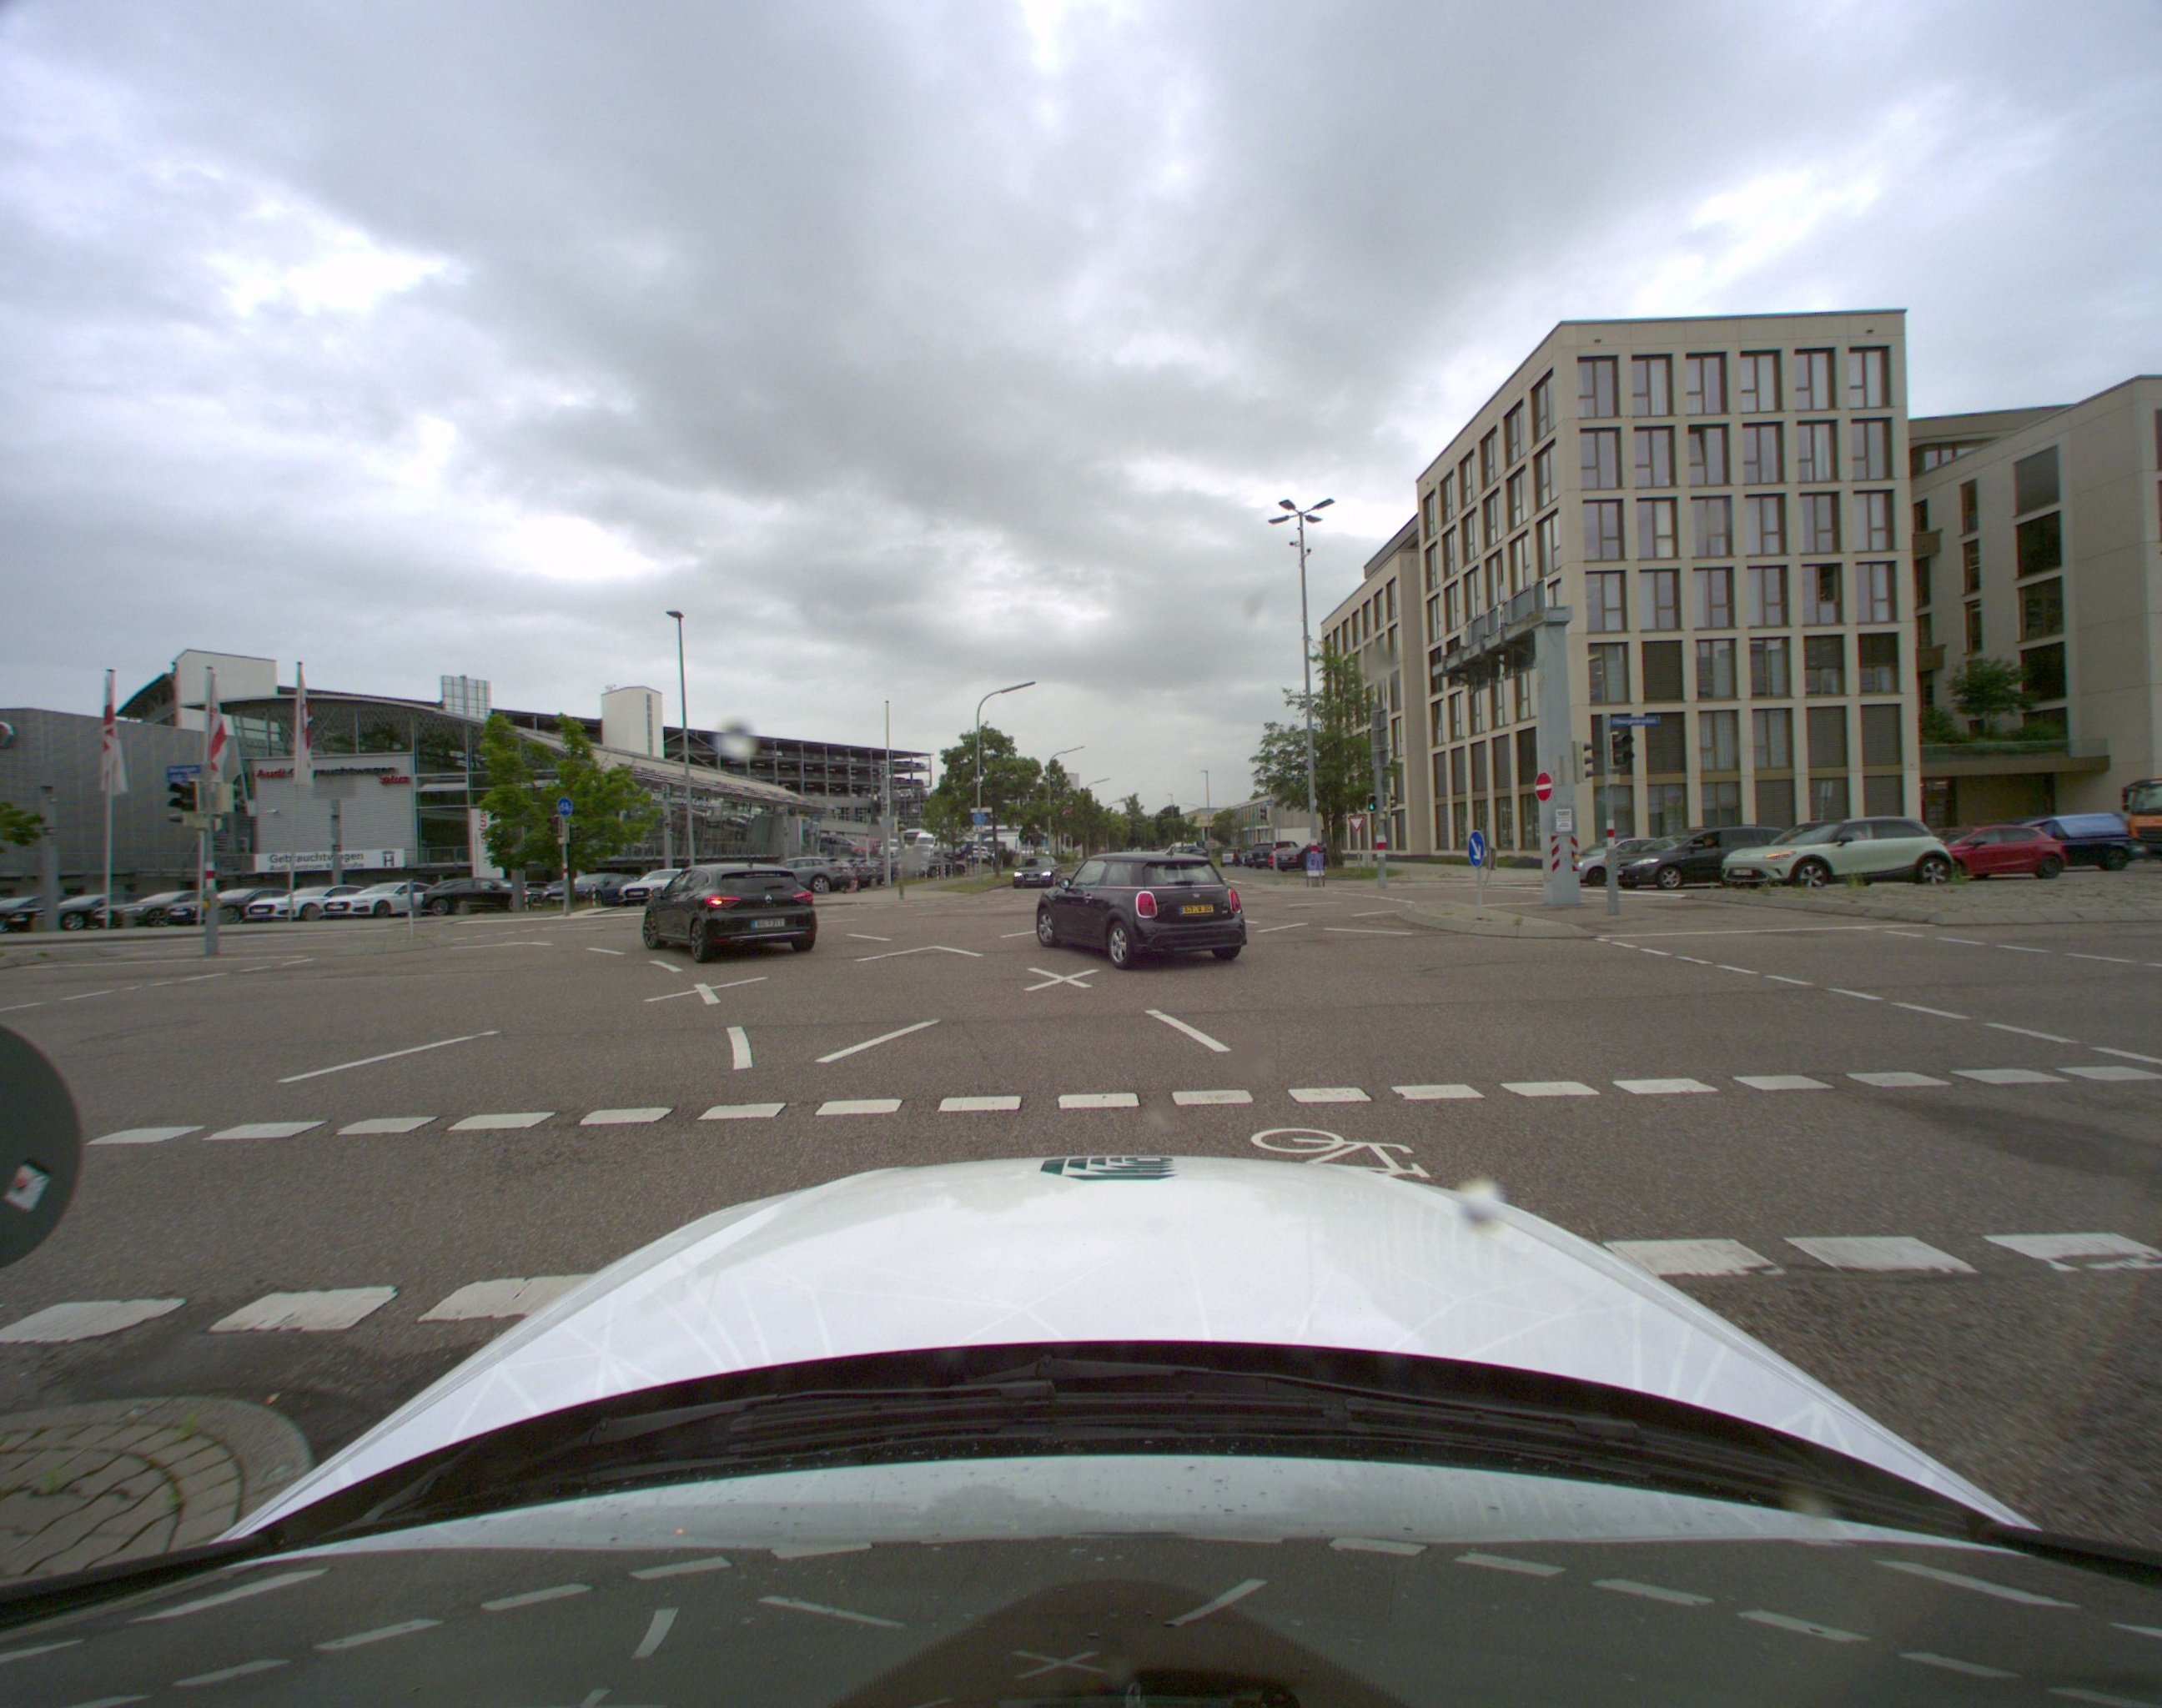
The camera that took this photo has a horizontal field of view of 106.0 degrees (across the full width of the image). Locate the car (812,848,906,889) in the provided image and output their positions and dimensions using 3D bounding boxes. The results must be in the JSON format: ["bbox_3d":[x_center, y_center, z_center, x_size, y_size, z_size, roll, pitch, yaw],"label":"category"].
[{"bbox_3d":[-12.732,0.846,46.982,4.762,2.014,1.998,-4,-1,-3],"label":"car"}]

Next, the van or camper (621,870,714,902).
[{"bbox_3d":[-22.405,1.732,44.209,3.975,1.677,1.999,0,-1,-1],"label":"van or camper"}]

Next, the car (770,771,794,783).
[{"bbox_3d":[-52.209,-13.372,141.999,3.948,1.667,2.013,-1,0,35],"label":"car"}]

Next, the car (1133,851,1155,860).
[{"bbox_3d":[14.604,0.343,189.117,5.153,2.014,2.145,0,-1,2],"label":"car"}]

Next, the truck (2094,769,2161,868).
[{"bbox_3d":[32.123,-0.969,21.723,6.630,2.638,2.821,0,-1,0],"label":"truck"}]

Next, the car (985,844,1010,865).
[{"bbox_3d":[-8.194,0.103,80.210,1.987,2.014,3.999,0,-1,0],"label":"car"}]

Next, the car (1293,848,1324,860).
[{"bbox_3d":[26.288,-0.011,94.122,3.236,1.332,1.478,0,-1,-15],"label":"car"}]

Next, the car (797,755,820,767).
[{"bbox_3d":[-48.964,-16.770,146.227,3.948,1.667,2.013,-1,0,35],"label":"car"}]

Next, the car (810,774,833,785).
[{"bbox_3d":[-47.315,-13.533,148.308,3.948,1.667,2.013,-1,0,35],"label":"car"}]

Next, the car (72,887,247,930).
[{"bbox_3d":[-35.026,2.049,31.154,1.896,1.486,4.188,-2,-3,0],"label":"car"}]

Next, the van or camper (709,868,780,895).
[{"bbox_3d":[-22.715,1.846,55.077,3.975,1.711,1.846,0,-1,-1],"label":"van or camper"}]

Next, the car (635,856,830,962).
[{"bbox_3d":[-5.814,0.791,13.342,1.772,1.434,3.952,-1,0,-42],"label":"car"}]

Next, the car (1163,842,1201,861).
[{"bbox_3d":[16.746,-0.338,135.563,6.093,3.116,2.135,0,-1,2],"label":"car"}]

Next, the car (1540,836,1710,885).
[{"bbox_3d":[16.575,0.203,24.958,4.072,1.432,1.750,0,-1,-1],"label":"car"}]

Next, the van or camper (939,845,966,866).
[{"bbox_3d":[-12.594,0.170,80.045,1.987,2.014,3.999,0,-1,0],"label":"van or camper"}]

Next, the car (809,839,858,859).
[{"bbox_3d":[-23.120,-0.459,76.234,3.973,1.838,1.760,0,-1,0],"label":"car"}]

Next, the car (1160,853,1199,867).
[{"bbox_3d":[13.659,0.839,113.024,5.155,2.014,2.144,0,-1,1],"label":"car"}]

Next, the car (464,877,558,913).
[{"bbox_3d":[-29.433,2.080,42.230,1.799,1.696,4.318,0,-1,0],"label":"car"}]

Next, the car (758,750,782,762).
[{"bbox_3d":[-53.499,-16.827,139.932,3.948,1.667,2.013,-1,0,35],"label":"car"}]

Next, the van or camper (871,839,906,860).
[{"bbox_3d":[-16.244,-0.342,68.869,1.987,1.651,3.999,0,-1,0],"label":"van or camper"}]

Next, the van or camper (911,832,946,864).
[{"bbox_3d":[-14.981,-0.512,80.224,2.528,3.027,4.842,0,-1,0],"label":"van or camper"}]

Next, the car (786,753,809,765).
[{"bbox_3d":[-50.249,-16.795,144.279,3.948,1.667,2.013,-1,0,35],"label":"car"}]

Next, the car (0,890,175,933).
[{"bbox_3d":[-38.059,2.166,31.135,1.882,1.471,4.377,-2,-3,0],"label":"car"}]

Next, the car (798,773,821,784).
[{"bbox_3d":[-48.761,-13.505,146.184,3.948,1.667,2.013,-1,0,35],"label":"car"}]

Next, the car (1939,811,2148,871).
[{"bbox_3d":[29.642,-0.363,25.188,4.123,1.769,1.999,0,-1,-1],"label":"car"}]

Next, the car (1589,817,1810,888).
[{"bbox_3d":[16.339,-0.029,21.676,4.394,1.769,1.999,0,-1,-1],"label":"car"}]

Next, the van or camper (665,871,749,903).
[{"bbox_3d":[-21.616,1.893,47.157,3.975,1.816,1.846,0,-1,-1],"label":"van or camper"}]

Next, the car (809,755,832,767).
[{"bbox_3d":[-47.430,-16.927,148.455,3.948,1.667,2.013,-1,0,35],"label":"car"}]

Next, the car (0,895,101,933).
[{"bbox_3d":[-40.802,2.281,30.998,1.890,1.391,4.166,-2,-3,0],"label":"car"}]

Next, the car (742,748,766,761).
[{"bbox_3d":[-55.254,-16.753,137.623,3.948,1.667,2.013,-1,0,35],"label":"car"}]

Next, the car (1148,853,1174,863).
[{"bbox_3d":[16.287,0.823,166.211,5.153,2.014,2.145,0,-1,2],"label":"car"}]

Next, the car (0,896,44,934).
[{"bbox_3d":[-43.416,2.377,31.017,1.836,1.472,4.662,-1,-3,0],"label":"car"}]

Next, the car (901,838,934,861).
[{"bbox_3d":[-13.783,-0.378,68.866,1.987,1.823,3.999,0,-1,0],"label":"car"}]

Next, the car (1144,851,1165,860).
[{"bbox_3d":[18.270,0.372,202.866,5.153,2.014,2.145,0,-1,2],"label":"car"}]

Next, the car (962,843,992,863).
[{"bbox_3d":[-8.787,-0.060,68.898,1.987,1.618,3.999,0,-1,0],"label":"car"}]

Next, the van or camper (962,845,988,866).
[{"bbox_3d":[-10.394,0.158,80.120,1.987,2.014,3.999,0,-1,0],"label":"van or camper"}]

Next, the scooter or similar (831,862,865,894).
[{"bbox_3d":[-9.548,0.973,33.385,0.552,1.219,1.567,1,1,17],"label":"scooter or similar"}]

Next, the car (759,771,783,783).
[{"bbox_3d":[-53.236,-13.265,139.966,3.948,1.667,2.013,-1,0,35],"label":"car"}]

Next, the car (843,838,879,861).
[{"bbox_3d":[-18.669,-0.342,69.237,1.987,1.849,3.999,0,-1,0],"label":"car"}]

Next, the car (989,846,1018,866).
[{"bbox_3d":[-6.590,0.164,69.641,1.986,1.618,4.001,0,-1,2],"label":"car"}]

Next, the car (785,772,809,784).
[{"bbox_3d":[-50.235,-13.465,144.131,3.948,1.667,2.013,-1,0,35],"label":"car"}]

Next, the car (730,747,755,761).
[{"bbox_3d":[-56.356,-16.630,135.626,3.948,1.667,2.013,-1,0,35],"label":"car"}]

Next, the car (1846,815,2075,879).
[{"bbox_3d":[23.309,-0.164,21.713,3.974,1.601,1.999,0,-1,0],"label":"car"}]

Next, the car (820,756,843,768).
[{"bbox_3d":[-46.029,-16.897,150.208,3.948,1.667,2.013,-1,0,35],"label":"car"}]

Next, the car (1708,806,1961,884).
[{"bbox_3d":[16.892,-0.181,18.397,4.045,1.643,1.903,0,-1,-2],"label":"car"}]

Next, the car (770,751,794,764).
[{"bbox_3d":[-52.101,-16.805,141.730,3.948,1.667,2.013,-1,0,35],"label":"car"}]

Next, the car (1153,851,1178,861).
[{"bbox_3d":[16.492,0.410,159.592,4.768,1.891,2.144,0,-1,1],"label":"car"}]

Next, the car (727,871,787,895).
[{"bbox_3d":[-25.102,2.248,63.169,3.977,1.838,1.758,0,-1,-3],"label":"car"}]

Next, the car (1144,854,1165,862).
[{"bbox_3d":[17.976,0.929,199.512,5.153,2.014,2.145,0,-1,2],"label":"car"}]
